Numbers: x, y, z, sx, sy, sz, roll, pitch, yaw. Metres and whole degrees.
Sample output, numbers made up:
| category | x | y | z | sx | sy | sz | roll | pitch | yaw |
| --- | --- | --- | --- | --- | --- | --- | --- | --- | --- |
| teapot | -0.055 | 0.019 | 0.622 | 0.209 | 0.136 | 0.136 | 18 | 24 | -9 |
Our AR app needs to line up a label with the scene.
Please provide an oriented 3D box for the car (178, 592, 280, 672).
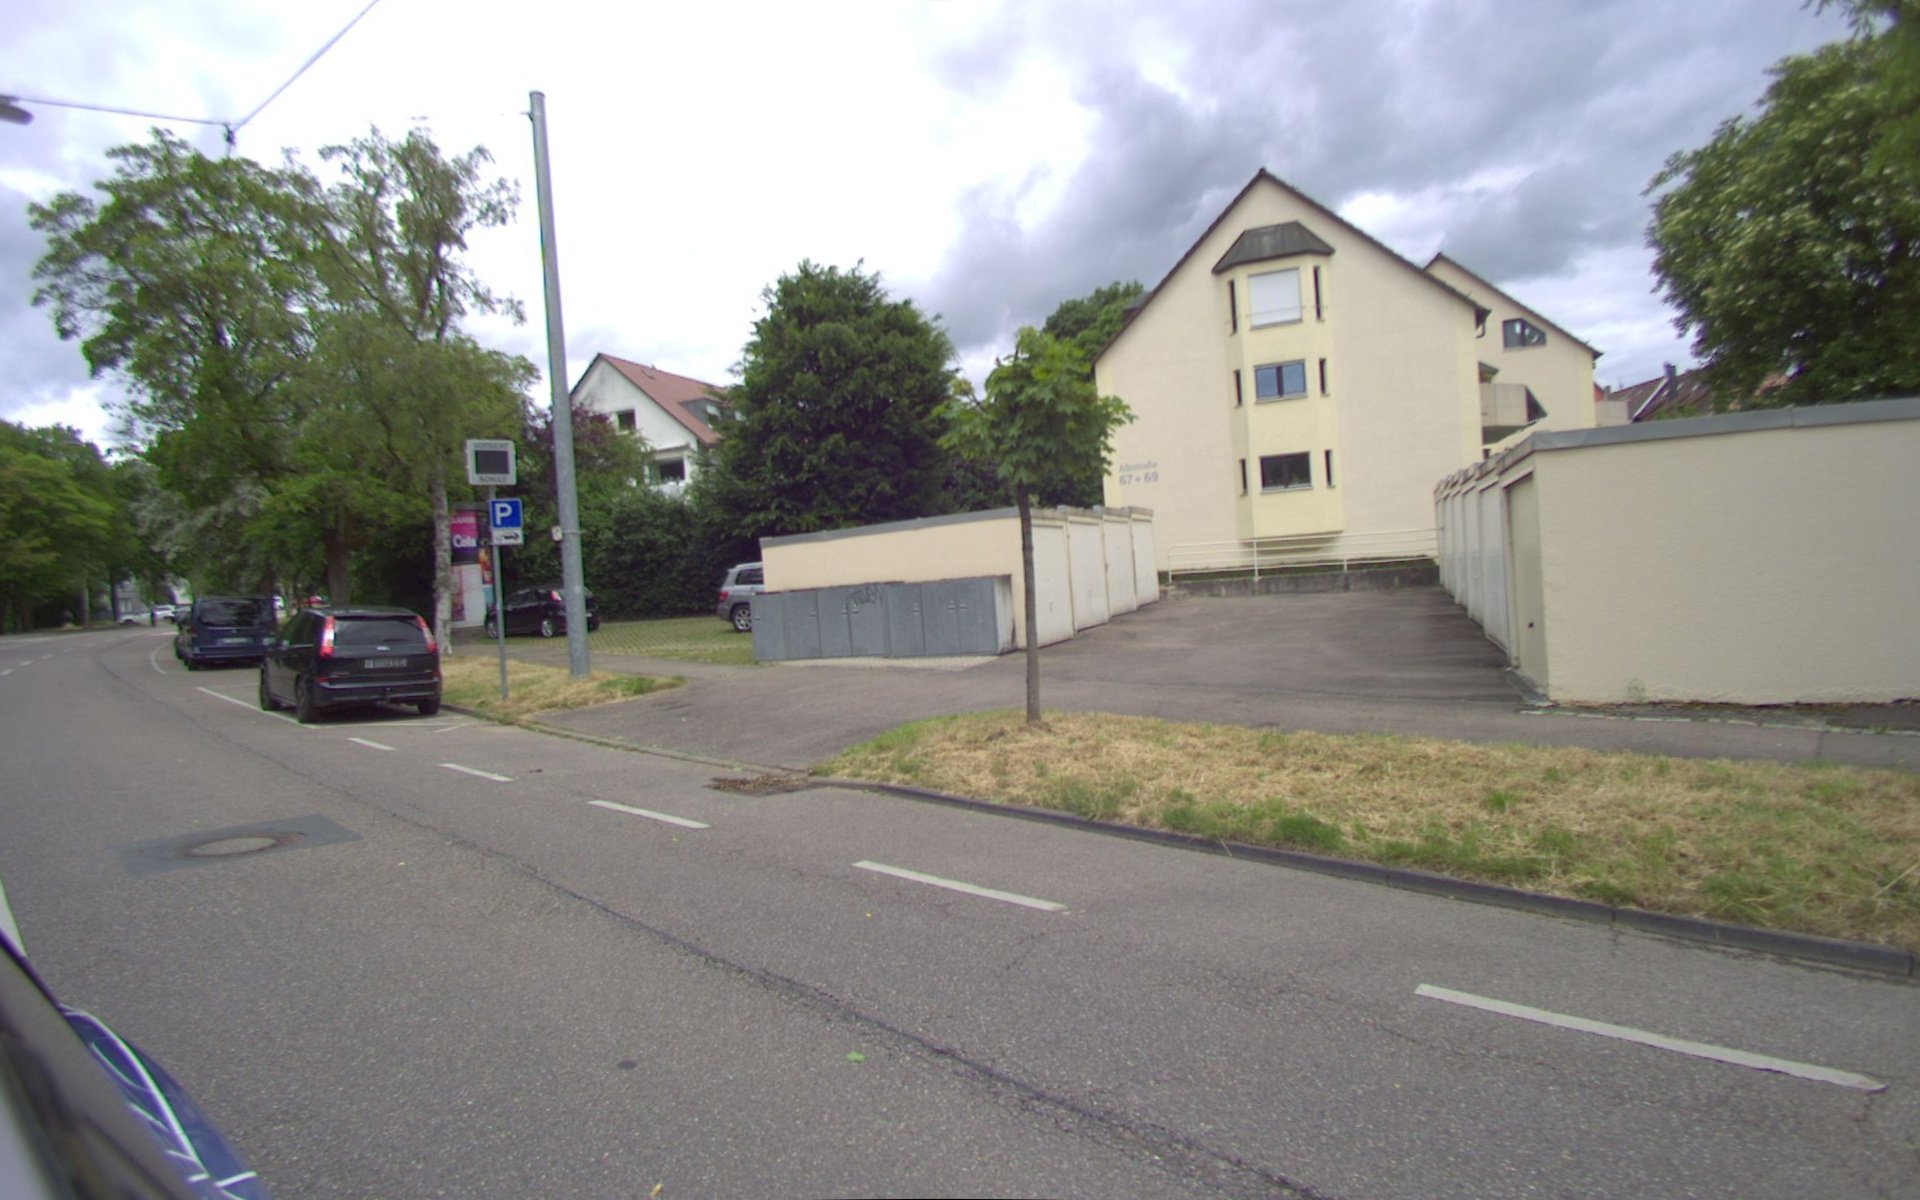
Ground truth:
| category | x | y | z | sx | sy | sz | roll | pitch | yaw |
| --- | --- | --- | --- | --- | --- | --- | --- | --- | --- |
| car | -20.065 | 0.816 | 27.690 | 1.835 | 1.923 | 5.091 | -3 | 2 | -40 |

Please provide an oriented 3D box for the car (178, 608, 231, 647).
| category | x | y | z | sx | sy | sz | roll | pitch | yaw |
| --- | --- | --- | --- | --- | --- | --- | --- | --- | --- |
| car | -33.498 | 1.169 | 44.943 | 1.712 | 1.590 | 4.152 | -2 | 1 | -35 |

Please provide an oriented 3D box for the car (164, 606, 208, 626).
| category | x | y | z | sx | sy | sz | roll | pitch | yaw |
| --- | --- | --- | --- | --- | --- | --- | --- | --- | --- |
| car | -63.723 | 1.302 | 83.372 | 1.830 | 1.384 | 4.089 | -4 | 2 | -22 |

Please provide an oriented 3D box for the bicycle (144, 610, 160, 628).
| category | x | y | z | sx | sy | sz | roll | pitch | yaw |
| --- | --- | --- | --- | --- | --- | --- | --- | --- | --- |
| bicycle | -59.464 | 1.398 | 74.481 | 0.637 | 1.246 | 1.882 | -4 | 2 | -33 |

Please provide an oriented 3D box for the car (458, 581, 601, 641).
| category | x | y | z | sx | sy | sz | roll | pitch | yaw |
| --- | --- | --- | --- | --- | --- | --- | --- | --- | --- |
| car | -12.674 | 0.336 | 29.760 | 3.976 | 1.488 | 1.761 | -2 | 5 | 31 |

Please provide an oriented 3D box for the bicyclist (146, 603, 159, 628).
| category | x | y | z | sx | sy | sz | roll | pitch | yaw |
| --- | --- | --- | --- | --- | --- | --- | --- | --- | --- |
| bicyclist | -59.680 | 1.113 | 74.806 | 0.637 | 1.792 | 0.630 | -3 | 2 | -34 |

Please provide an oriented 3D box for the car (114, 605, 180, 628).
| category | x | y | z | sx | sy | sz | roll | pitch | yaw |
| --- | --- | --- | --- | --- | --- | --- | --- | --- | --- |
| car | -72.689 | 1.464 | 90.571 | 4.410 | 1.596 | 1.912 | -6 | 3 | -35 |

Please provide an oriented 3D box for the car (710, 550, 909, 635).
| category | x | y | z | sx | sy | sz | roll | pitch | yaw |
| --- | --- | --- | --- | --- | --- | --- | --- | --- | --- |
| car | -3.694 | -0.193 | 25.101 | 4.365 | 1.661 | 1.990 | -4 | 4 | 17 |

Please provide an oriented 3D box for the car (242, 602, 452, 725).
| category | x | y | z | sx | sy | sz | roll | pitch | yaw |
| --- | --- | --- | --- | --- | --- | --- | --- | --- | --- |
| car | -9.269 | 0.836 | 15.147 | 1.783 | 1.575 | 4.270 | 1 | -1 | -44 |

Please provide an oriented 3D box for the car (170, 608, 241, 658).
| category | x | y | z | sx | sy | sz | roll | pitch | yaw |
| --- | --- | --- | --- | --- | --- | --- | --- | --- | --- |
| car | -26.661 | 1.110 | 35.722 | 1.842 | 1.549 | 4.236 | -3 | 2 | -38 |
